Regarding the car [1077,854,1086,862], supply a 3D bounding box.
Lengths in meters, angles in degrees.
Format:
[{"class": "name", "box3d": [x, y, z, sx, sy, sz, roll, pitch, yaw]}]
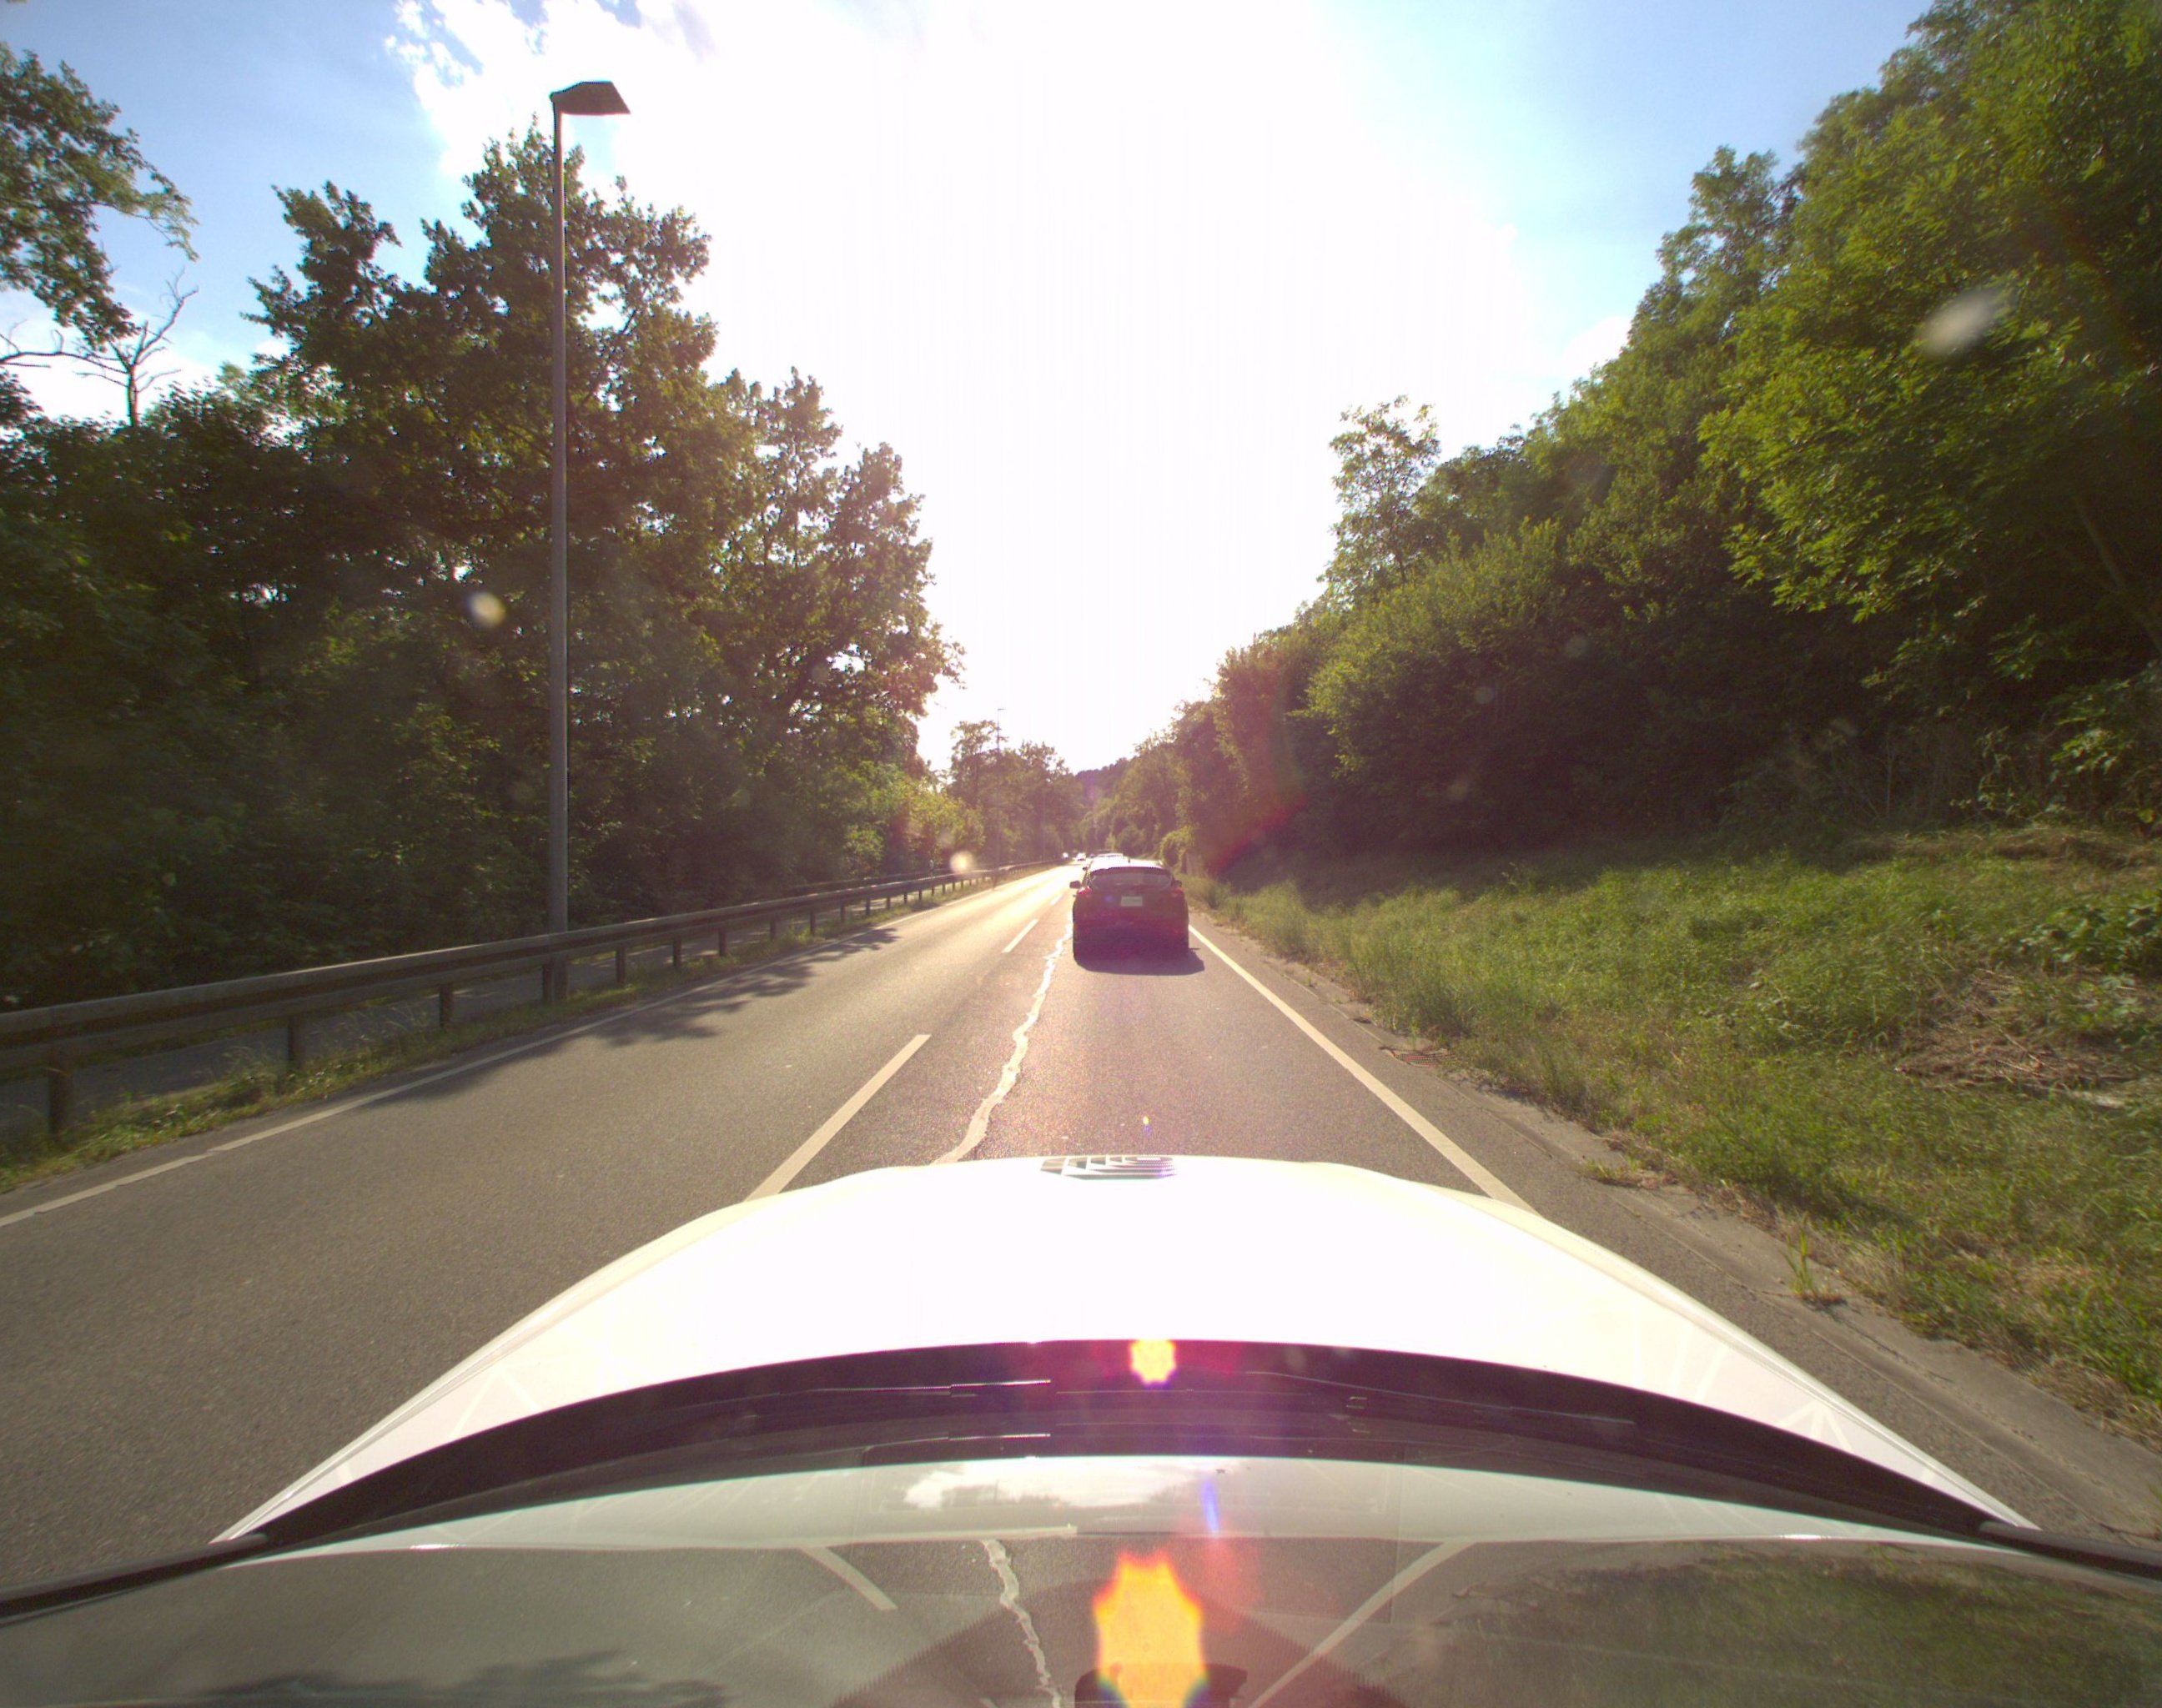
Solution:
[{"class": "car", "box3d": [0.147, 0.714, 155.974, 1.617, 1.377, 4.048, -2, 0, 1]}]

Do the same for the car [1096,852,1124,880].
[{"class": "car", "box3d": [1.769, 0.712, 50.100, 1.624, 1.596, 4.002, -1, 0, 2]}]

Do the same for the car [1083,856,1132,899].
[{"class": "car", "box3d": [1.011, 0.815, 29.543, 1.654, 1.418, 4.003, -1, 0, 3]}]

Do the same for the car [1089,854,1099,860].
[{"class": "car", "box3d": [3.501, 0.840, 220.308, 1.991, 1.519, 3.992, -1, 0, -6]}]

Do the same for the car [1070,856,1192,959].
[{"class": "car", "box3d": [0.789, 0.772, 13.670, 1.733, 1.456, 4.002, -1, 0, 2]}]

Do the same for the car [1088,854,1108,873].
[{"class": "car", "box3d": [1.505, 0.782, 70.578, 1.624, 1.596, 4.002, -1, 0, 2]}]

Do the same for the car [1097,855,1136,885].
[{"class": "car", "box3d": [1.724, 0.747, 40.236, 1.798, 1.391, 4.002, -1, 0, 2]}]

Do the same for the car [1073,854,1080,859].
[{"class": "car", "box3d": [-1.434, 0.759, 257.186, 1.991, 1.519, 3.992, -1, 0, -6]}]

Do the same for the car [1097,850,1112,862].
[{"class": "car", "box3d": [3.496, 0.247, 121.647, 1.859, 1.780, 3.996, -1, 0, -3]}]

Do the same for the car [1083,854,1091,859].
[{"class": "car", "box3d": [1.878, 0.696, 240.617, 1.991, 1.519, 3.992, -1, 0, -6]}]

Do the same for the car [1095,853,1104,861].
[{"class": "car", "box3d": [3.785, 0.530, 165.950, 1.812, 1.519, 4.002, -1, 0, 2]}]
